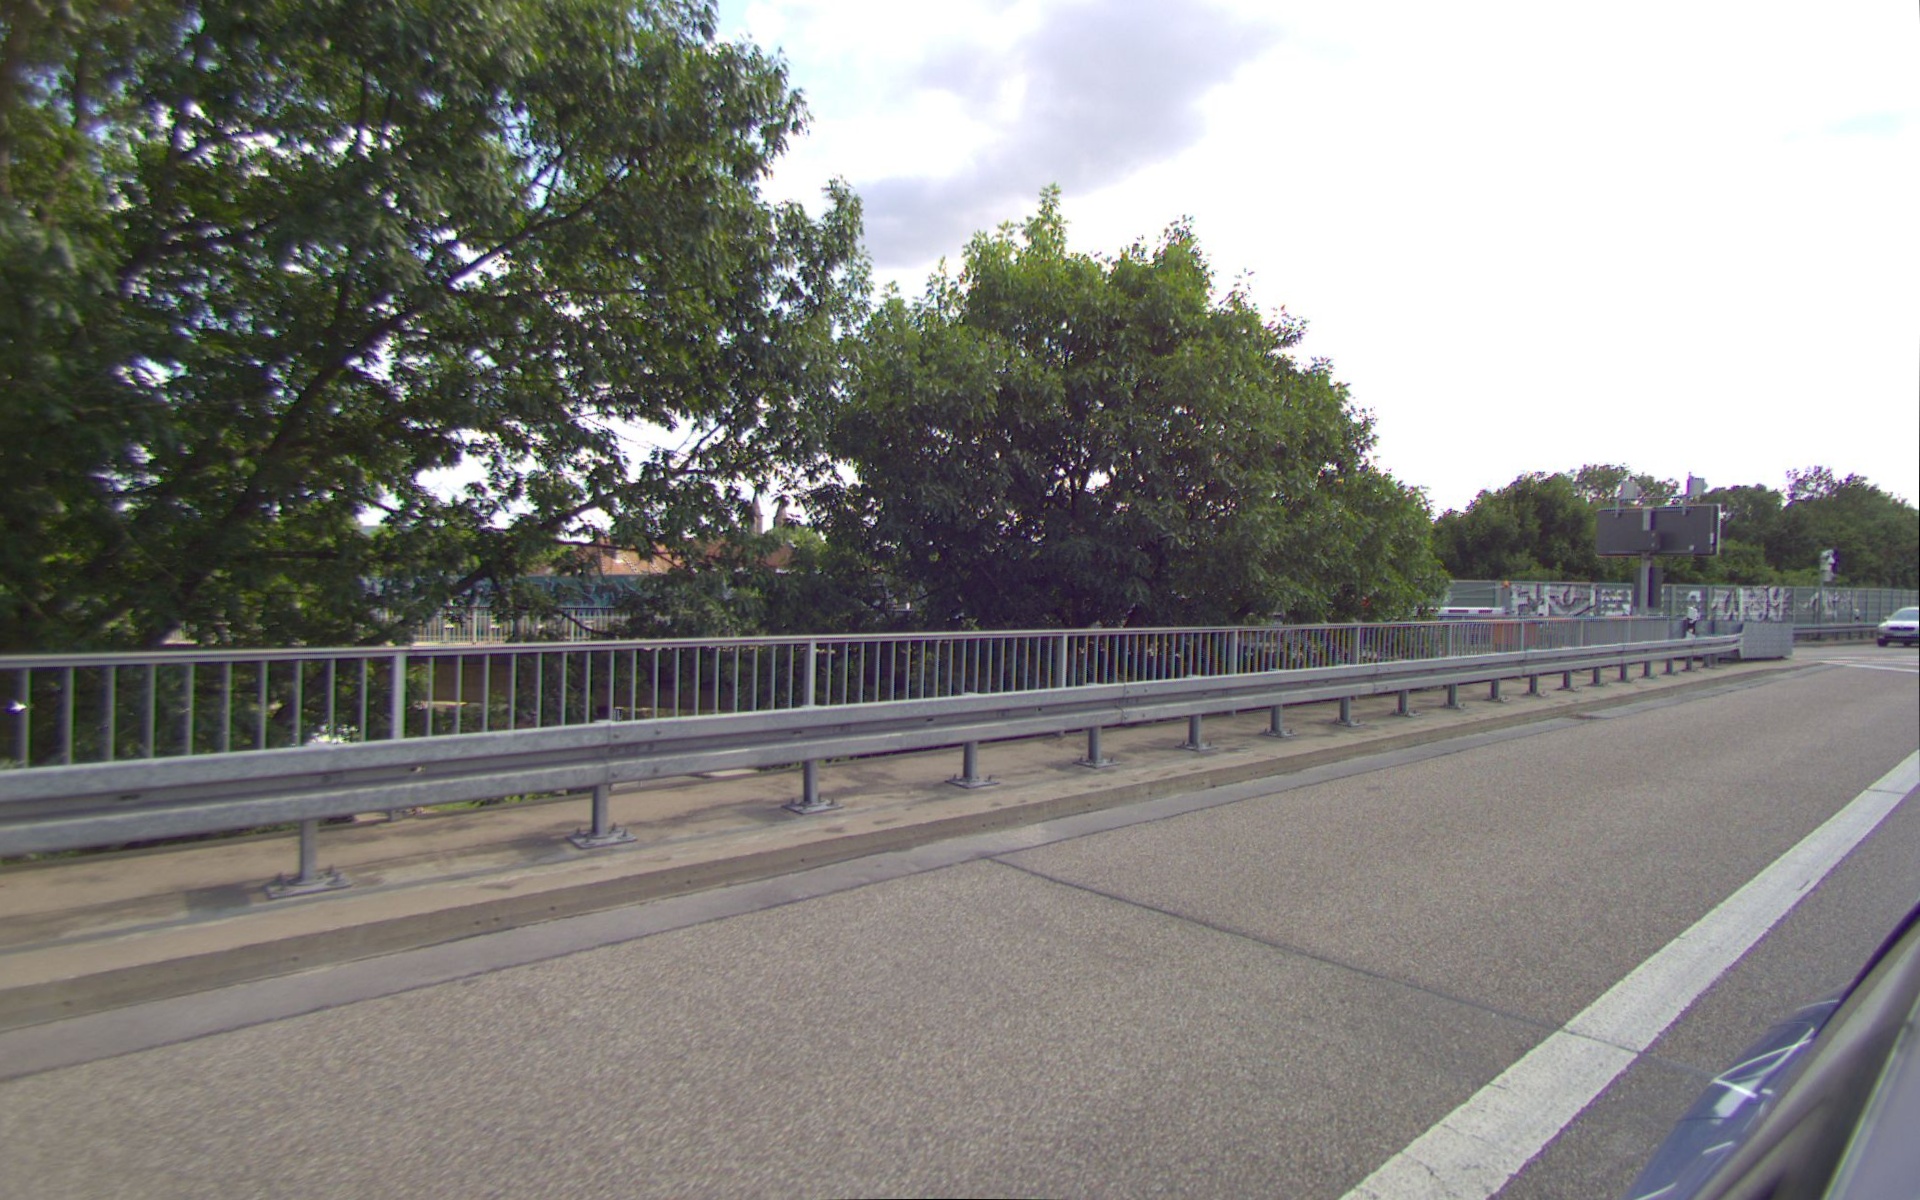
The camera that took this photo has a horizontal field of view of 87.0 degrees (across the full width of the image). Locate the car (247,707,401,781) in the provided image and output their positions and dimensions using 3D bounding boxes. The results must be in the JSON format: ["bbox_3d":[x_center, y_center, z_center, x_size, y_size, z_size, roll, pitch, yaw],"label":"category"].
[{"bbox_3d":[-27.780,6.220,44.481,2.205,2.344,5.535,0,0,22],"label":"car"}]

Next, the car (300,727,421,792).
[{"bbox_3d":[-25.222,6.650,42.696,1.983,2.039,3.958,0,0,30],"label":"car"}]

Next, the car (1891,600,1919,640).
[{"bbox_3d":[35.850,0.715,37.346,3.705,1.429,1.767,0,0,-41],"label":"car"}]
